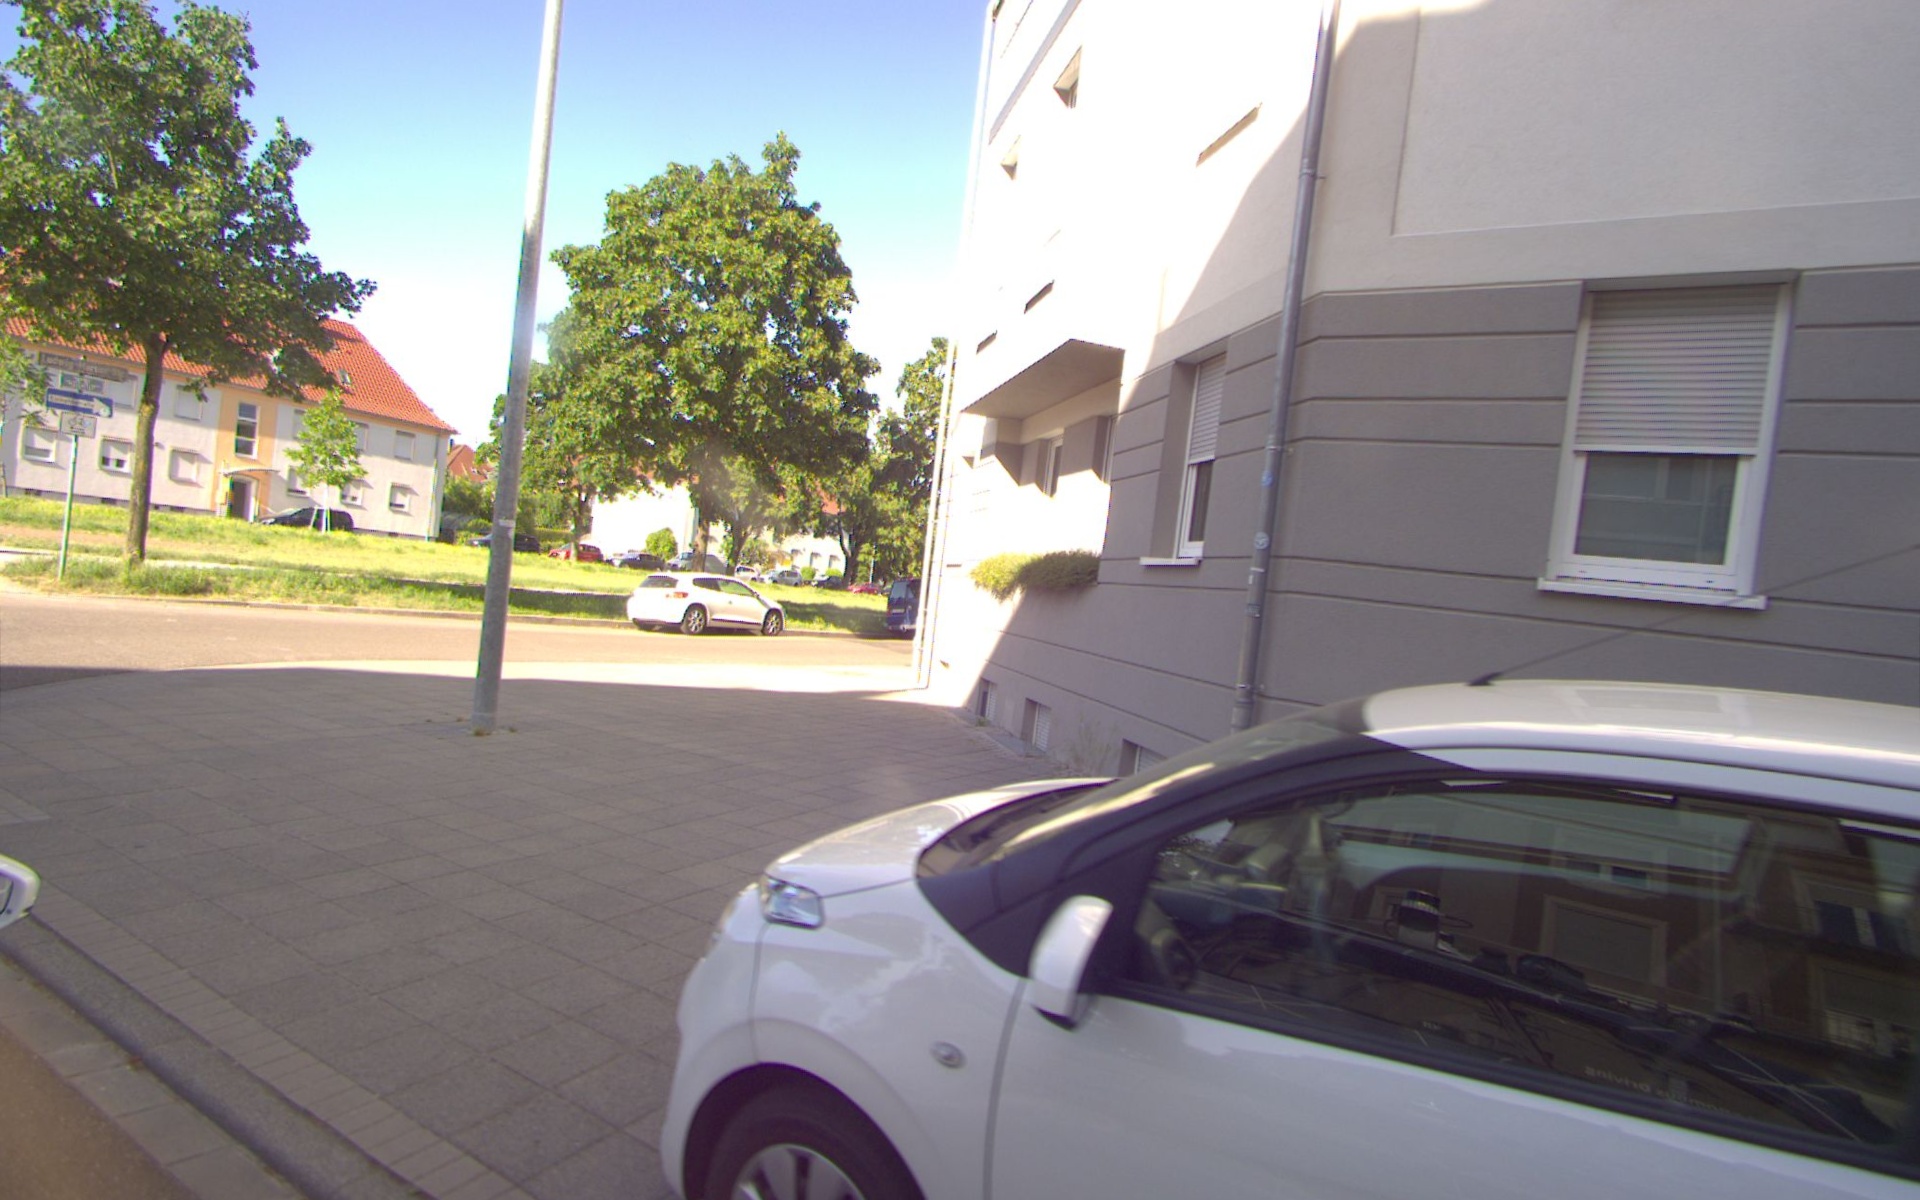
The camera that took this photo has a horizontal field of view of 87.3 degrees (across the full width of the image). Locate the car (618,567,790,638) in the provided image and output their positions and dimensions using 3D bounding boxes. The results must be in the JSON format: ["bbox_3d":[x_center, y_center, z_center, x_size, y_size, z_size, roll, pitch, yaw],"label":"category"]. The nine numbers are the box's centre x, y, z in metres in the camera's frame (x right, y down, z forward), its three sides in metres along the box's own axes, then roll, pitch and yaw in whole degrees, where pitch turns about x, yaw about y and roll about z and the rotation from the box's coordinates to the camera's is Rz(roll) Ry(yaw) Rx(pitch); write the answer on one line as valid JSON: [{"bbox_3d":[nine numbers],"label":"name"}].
[{"bbox_3d":[-5.858,0.103,23.389,1.578,1.407,3.810,3,-1,32],"label":"car"}]

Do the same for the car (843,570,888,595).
[{"bbox_3d":[-8.499,-1.540,90.624,1.838,1.807,4.077,8,1,32],"label":"car"}]

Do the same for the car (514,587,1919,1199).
[{"bbox_3d":[1.003,0.834,1.868,3.668,1.431,1.563,6,4,32],"label":"car"}]

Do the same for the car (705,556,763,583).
[{"bbox_3d":[-17.067,-2.264,76.287,1.838,1.562,4.077,8,1,32],"label":"car"}]

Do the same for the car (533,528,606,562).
[{"bbox_3d":[-24.549,-3.433,63.372,1.750,1.608,3.879,8,1,32],"label":"car"}]

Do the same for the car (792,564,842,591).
[{"bbox_3d":[-12.031,-1.876,84.670,1.838,1.807,4.077,8,1,32],"label":"car"}]

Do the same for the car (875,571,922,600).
[{"bbox_3d":[-5.396,-1.242,88.449,1.967,2.039,3.990,8,1,31],"label":"car"}]

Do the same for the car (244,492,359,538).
[{"bbox_3d":[-32.468,-4.180,49.708,1.868,1.620,4.290,8,1,32],"label":"car"}]

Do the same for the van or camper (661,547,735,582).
[{"bbox_3d":[-17.806,-2.389,68.612,1.967,1.807,4.666,8,1,32],"label":"van or camper"}]

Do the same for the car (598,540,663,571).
[{"bbox_3d":[-22.142,-2.975,67.703,1.618,1.570,3.879,8,1,32],"label":"car"}]

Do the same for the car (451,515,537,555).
[{"bbox_3d":[-27.182,-3.773,58.761,1.838,1.807,4.077,8,1,32],"label":"car"}]

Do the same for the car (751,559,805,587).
[{"bbox_3d":[-14.536,-2.151,80.466,1.838,1.807,4.077,8,1,32],"label":"car"}]

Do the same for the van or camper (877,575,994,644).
[{"bbox_3d":[-0.734,0.350,32.793,1.826,2.006,3.989,3,-1,32],"label":"van or camper"}]
